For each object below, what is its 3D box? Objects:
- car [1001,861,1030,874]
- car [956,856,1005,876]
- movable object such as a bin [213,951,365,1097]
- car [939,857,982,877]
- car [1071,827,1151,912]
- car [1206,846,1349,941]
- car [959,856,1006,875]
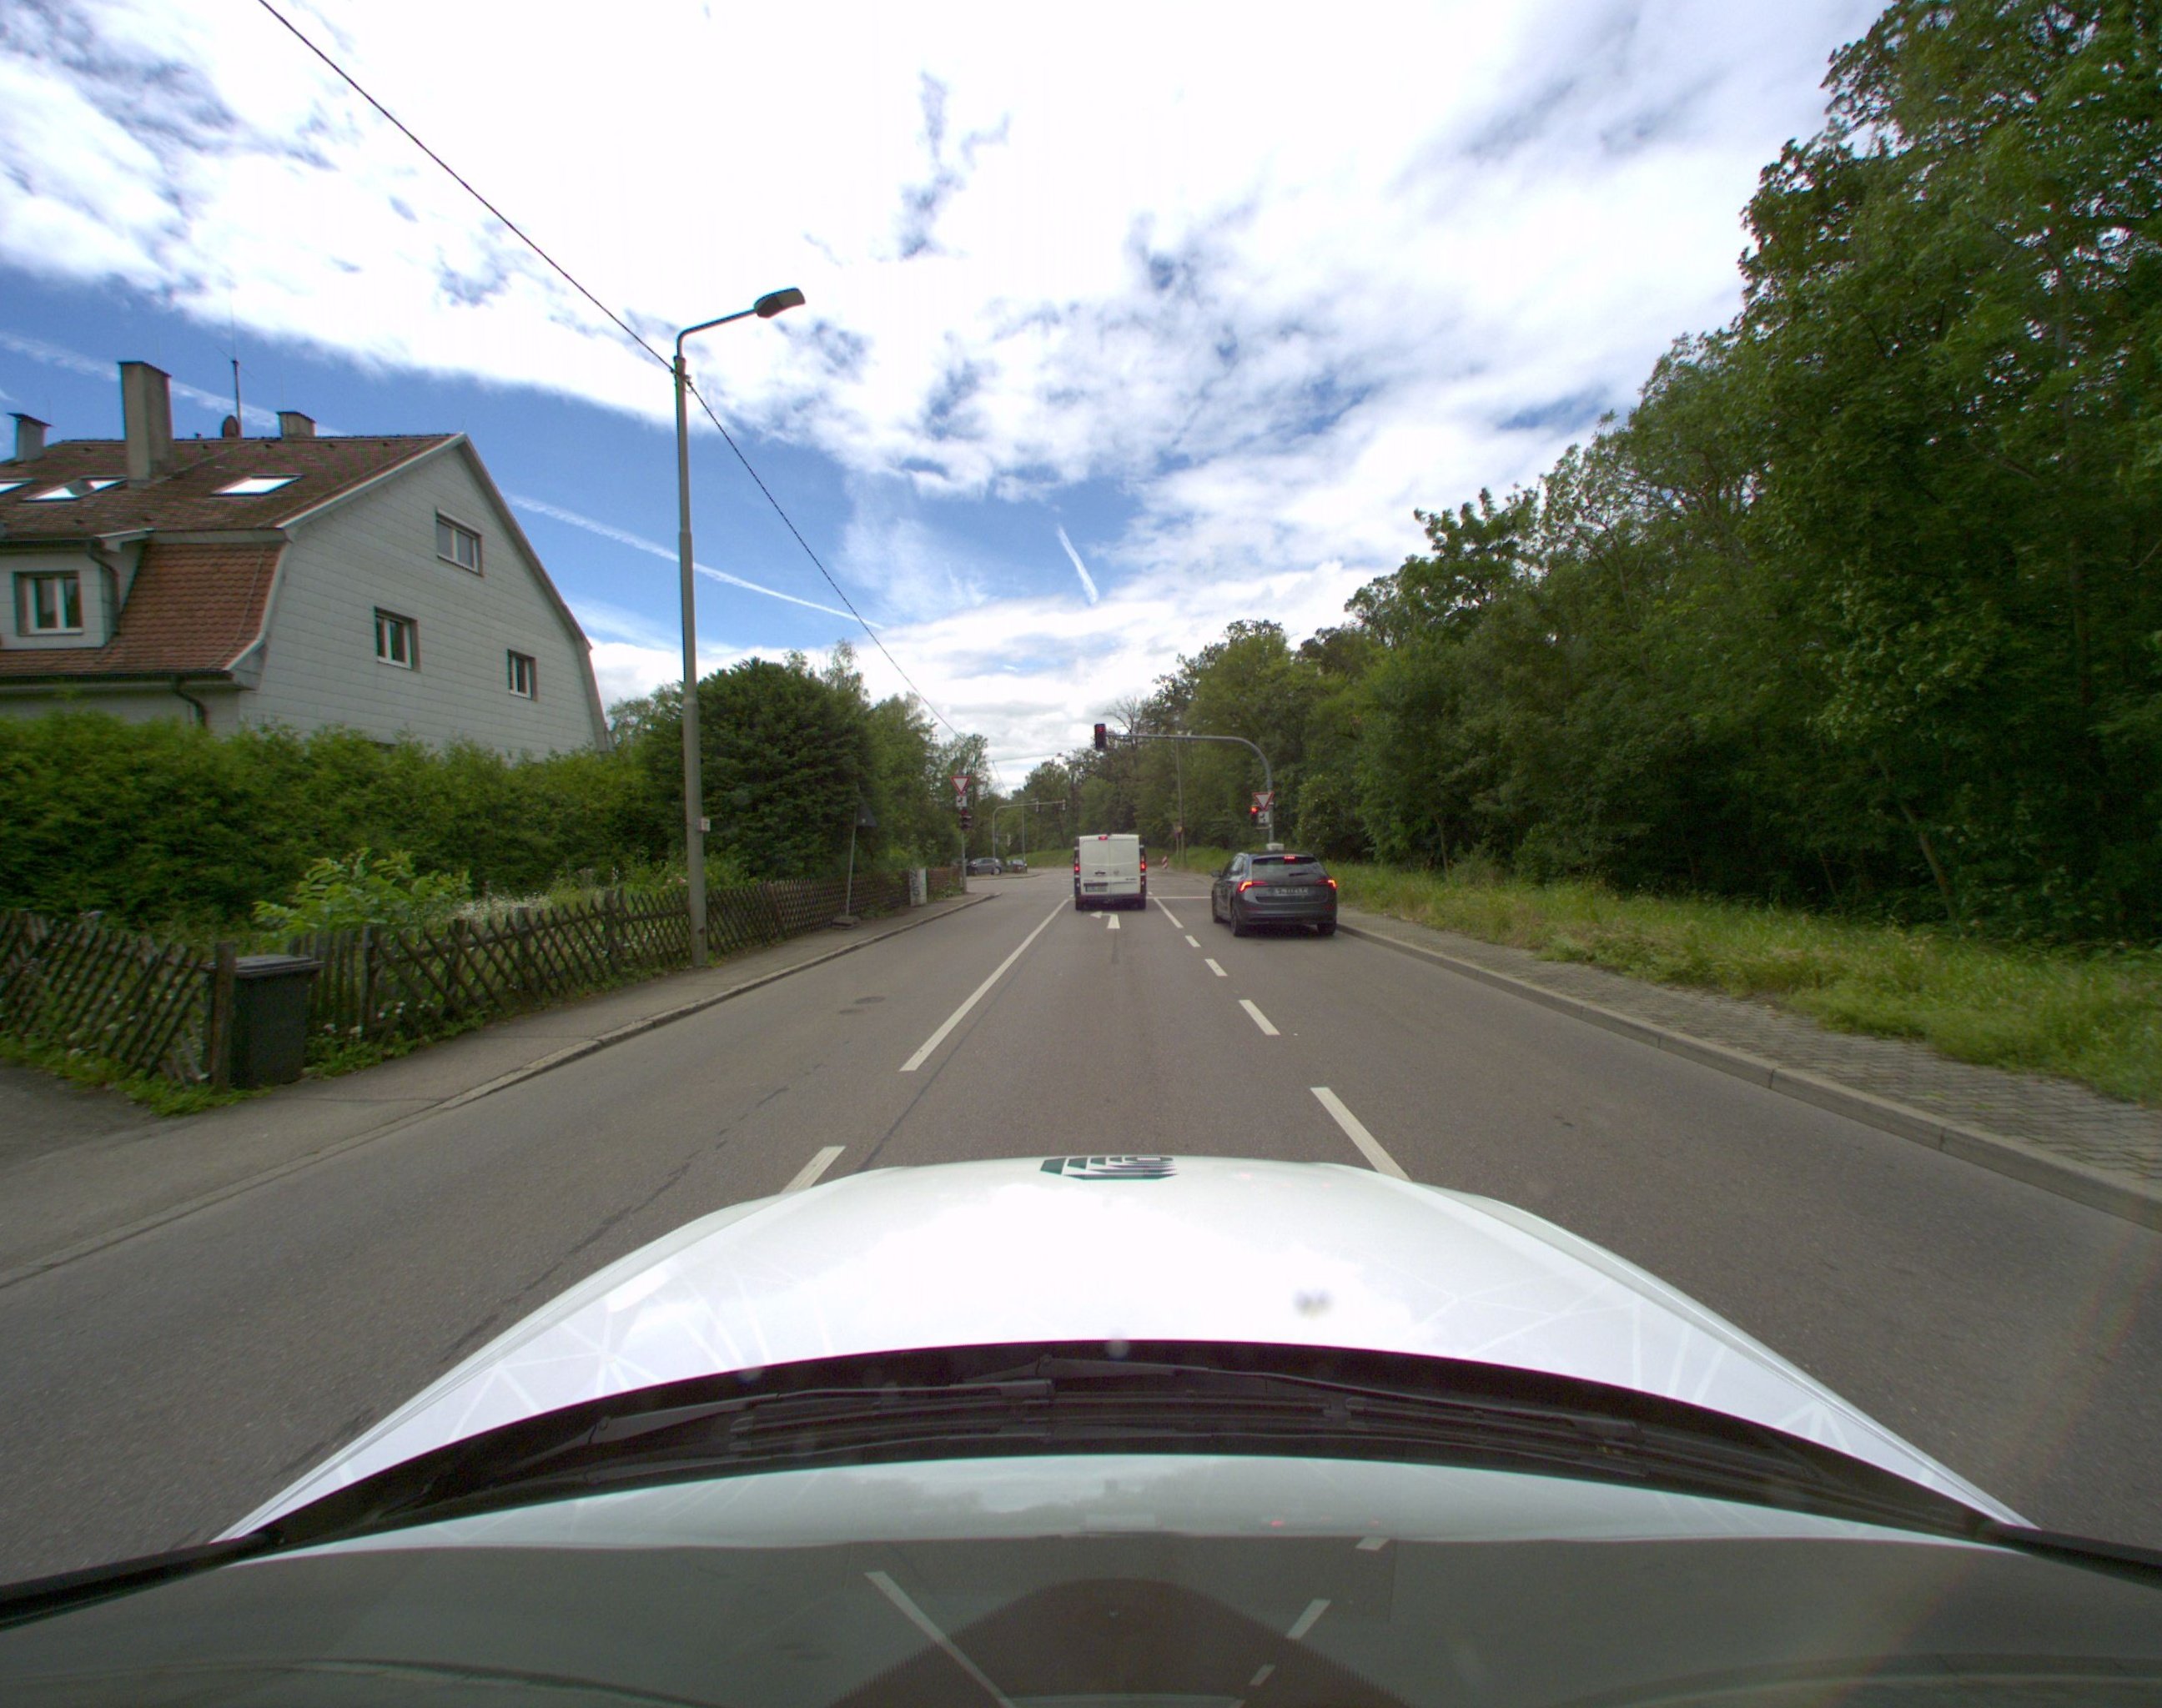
[{"bbox_3d":[-8.890,1.842,110.688,1.873,1.506,3.952,-3,1,-41],"label":"car"},{"bbox_3d":[-8.943,1.045,72.605,4.093,1.553,1.845,-2,1,-15],"label":"car"},{"bbox_3d":[-5.795,1.227,5.981,0.548,0.938,0.538,-2,0,3],"label":"movable object such as a bin"},{"bbox_3d":[-9.208,1.004,62.510,1.682,1.449,3.562,0,0,22],"label":"car"},{"bbox_3d":[0.760,0.370,22.657,1.910,2.053,4.613,-2,0,0],"label":"car"},{"bbox_3d":[3.467,0.629,15.097,1.785,1.450,4.002,-2,0,2],"label":"car"},{"bbox_3d":[-9.141,1.032,75.571,4.093,1.553,1.845,-2,1,-15],"label":"car"}]
